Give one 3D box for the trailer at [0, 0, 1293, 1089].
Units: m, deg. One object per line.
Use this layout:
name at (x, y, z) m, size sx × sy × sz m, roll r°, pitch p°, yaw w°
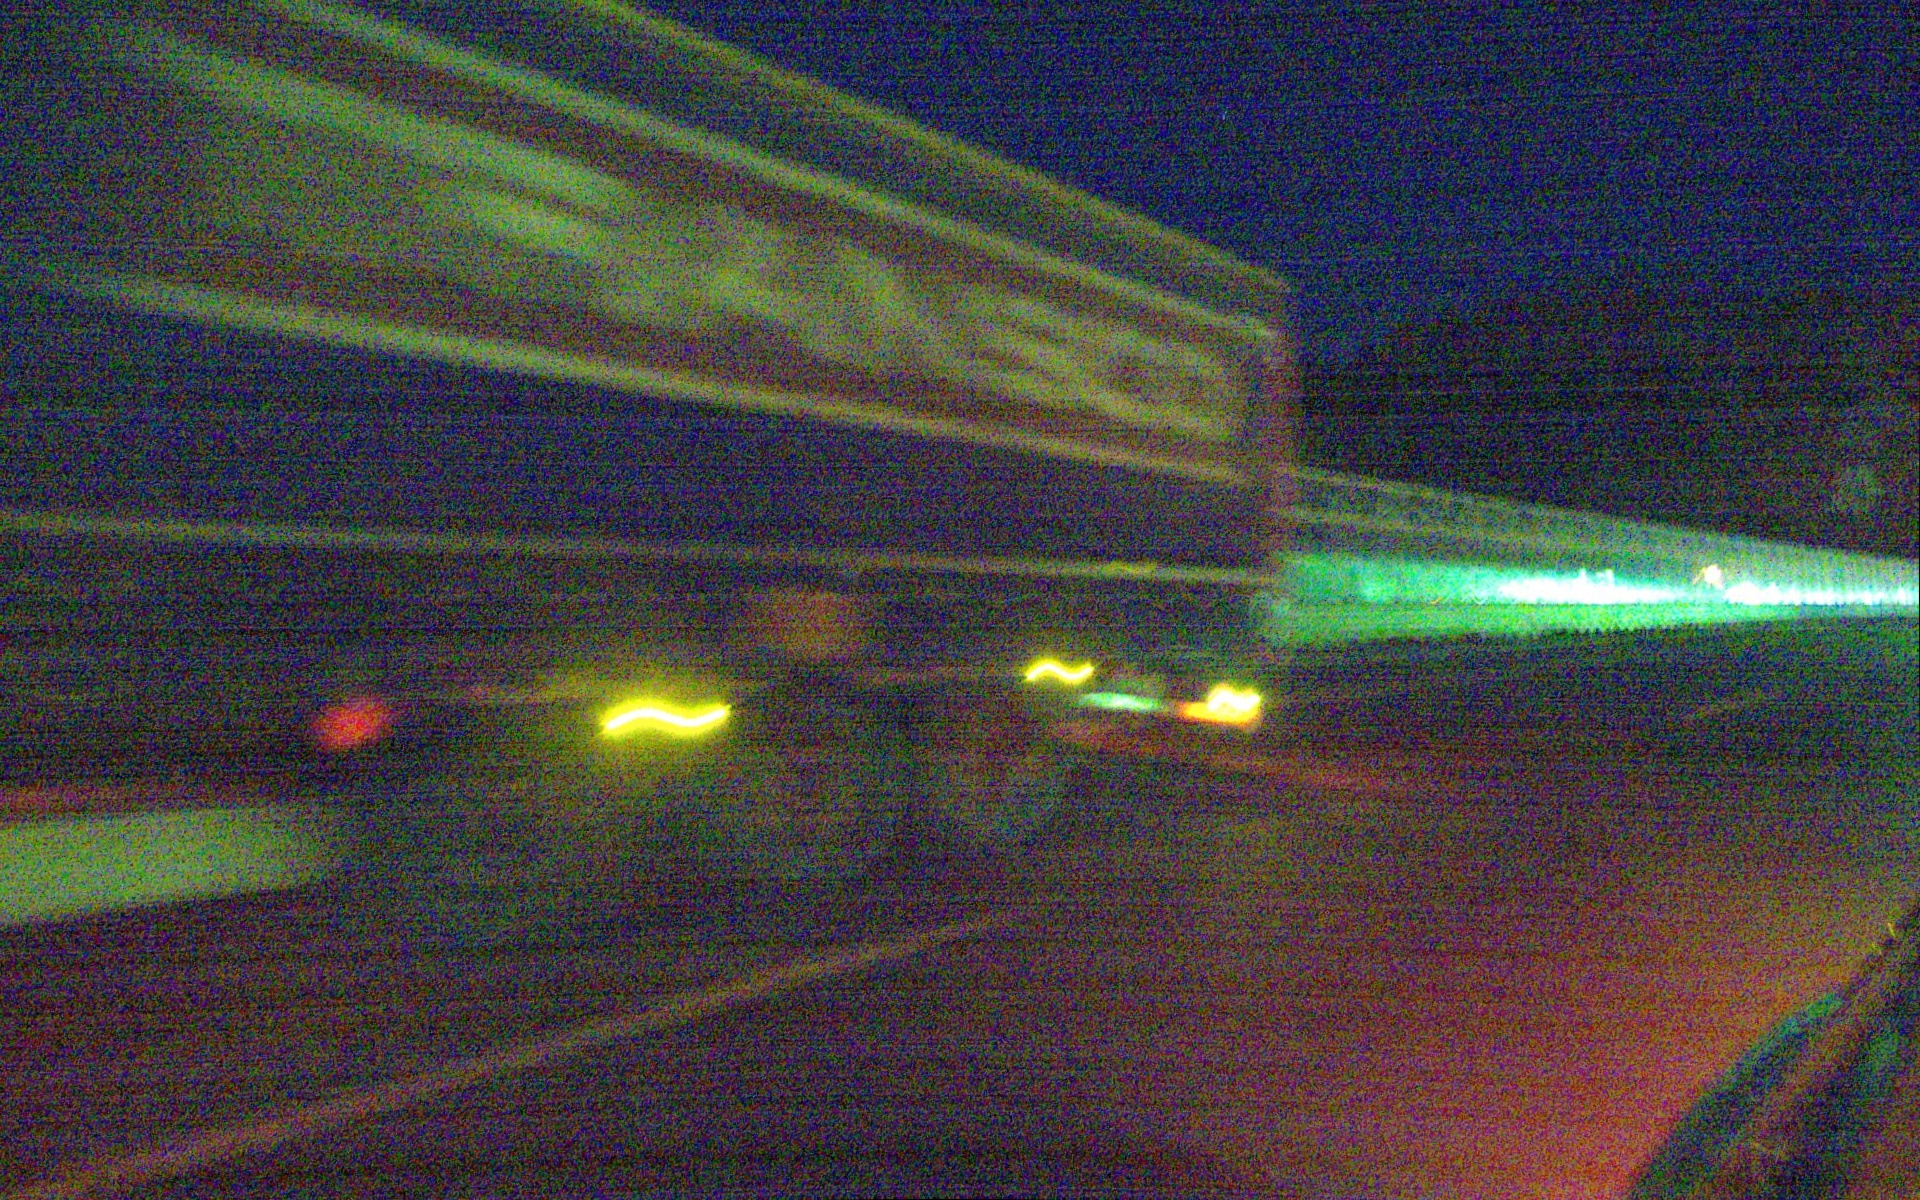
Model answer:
trailer at (-3.386, -0.702, 4.199) m, size 12.976 × 4.118 × 2.859 m, roll 0°, pitch 2°, yaw -42°
